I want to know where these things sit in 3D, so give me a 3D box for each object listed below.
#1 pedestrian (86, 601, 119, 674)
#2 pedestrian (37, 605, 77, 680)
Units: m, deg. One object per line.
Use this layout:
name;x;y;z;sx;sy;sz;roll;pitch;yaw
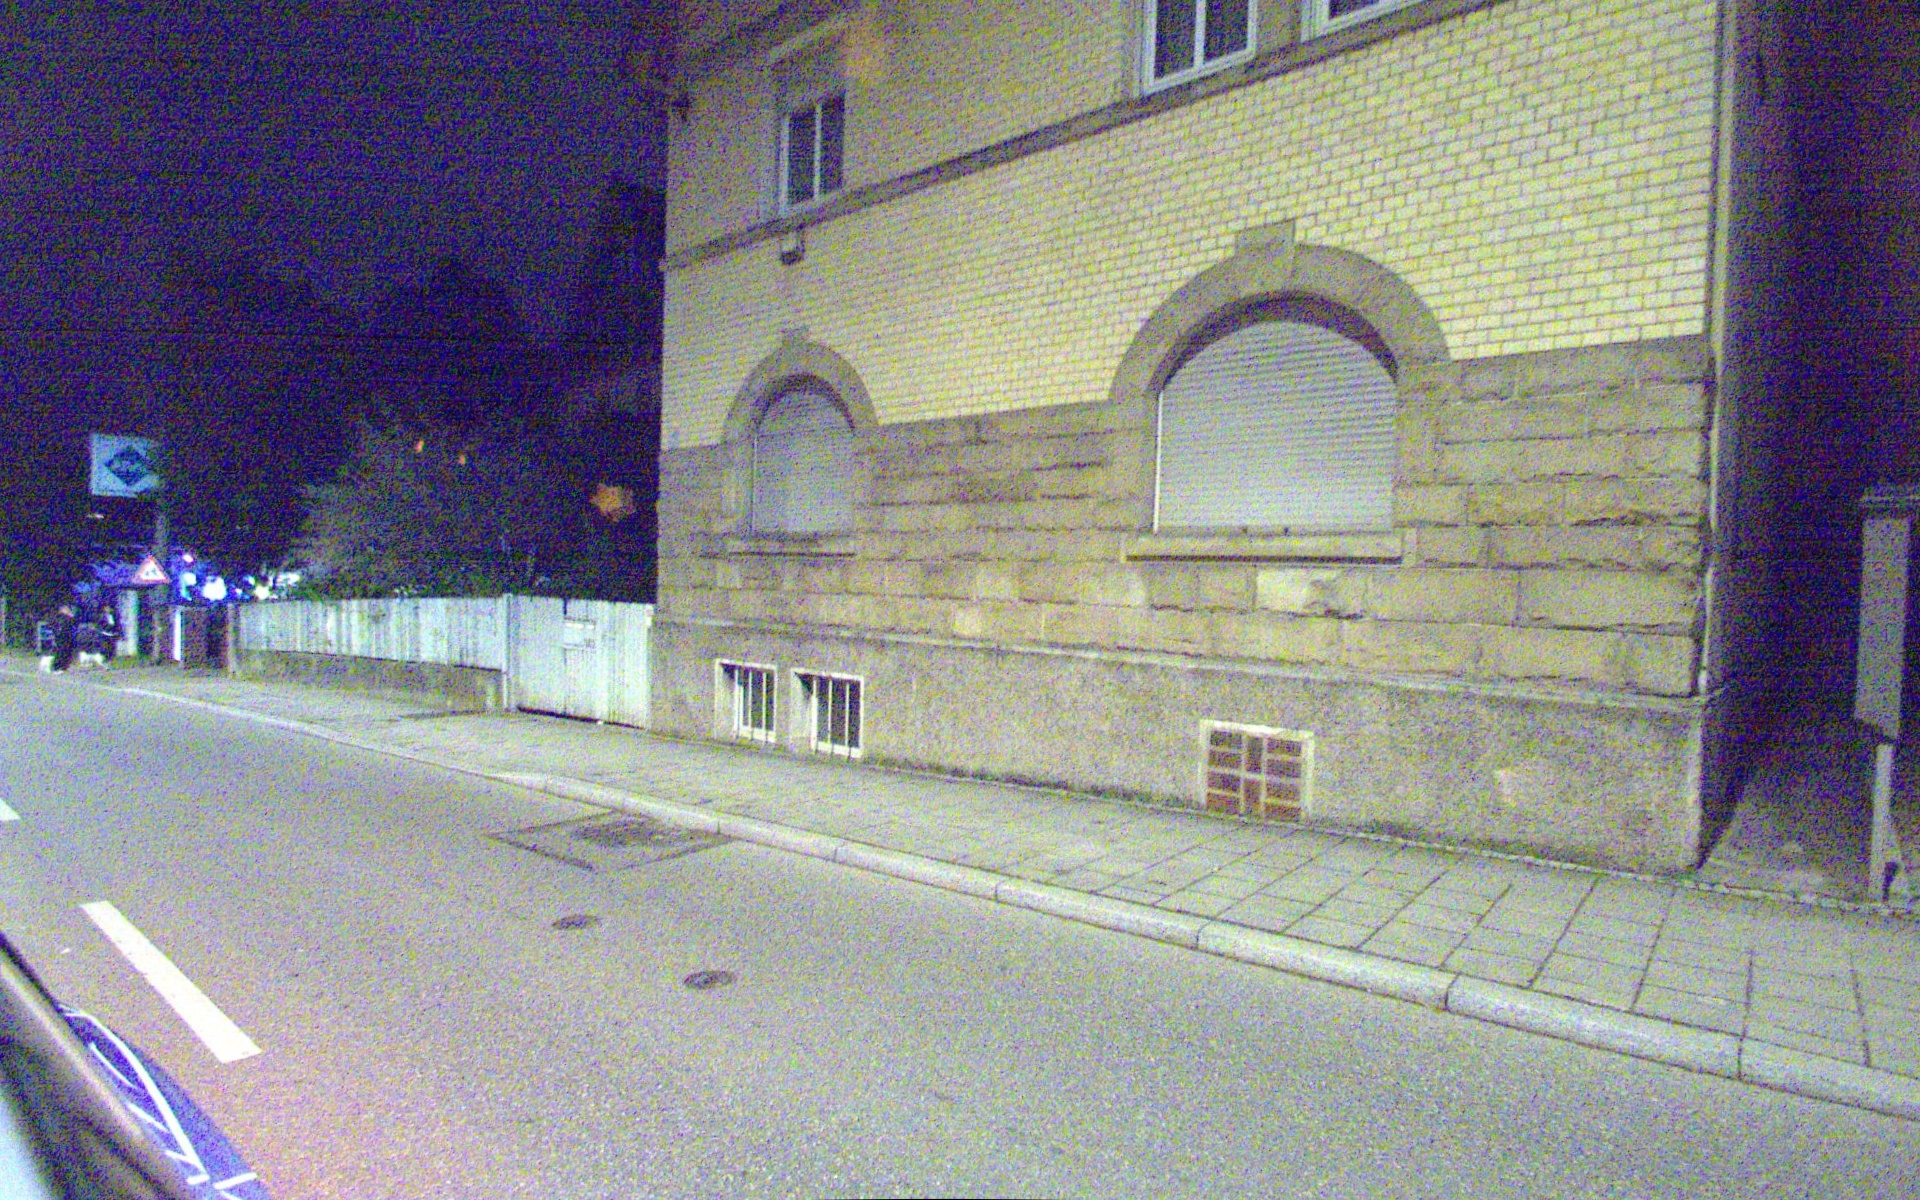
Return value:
pedestrian;-21.451;0.927;25.323;0.500;1.773;0.557;-1;0;41
pedestrian;-22.015;1.019;24.686;0.500;1.773;0.664;-1;0;41
